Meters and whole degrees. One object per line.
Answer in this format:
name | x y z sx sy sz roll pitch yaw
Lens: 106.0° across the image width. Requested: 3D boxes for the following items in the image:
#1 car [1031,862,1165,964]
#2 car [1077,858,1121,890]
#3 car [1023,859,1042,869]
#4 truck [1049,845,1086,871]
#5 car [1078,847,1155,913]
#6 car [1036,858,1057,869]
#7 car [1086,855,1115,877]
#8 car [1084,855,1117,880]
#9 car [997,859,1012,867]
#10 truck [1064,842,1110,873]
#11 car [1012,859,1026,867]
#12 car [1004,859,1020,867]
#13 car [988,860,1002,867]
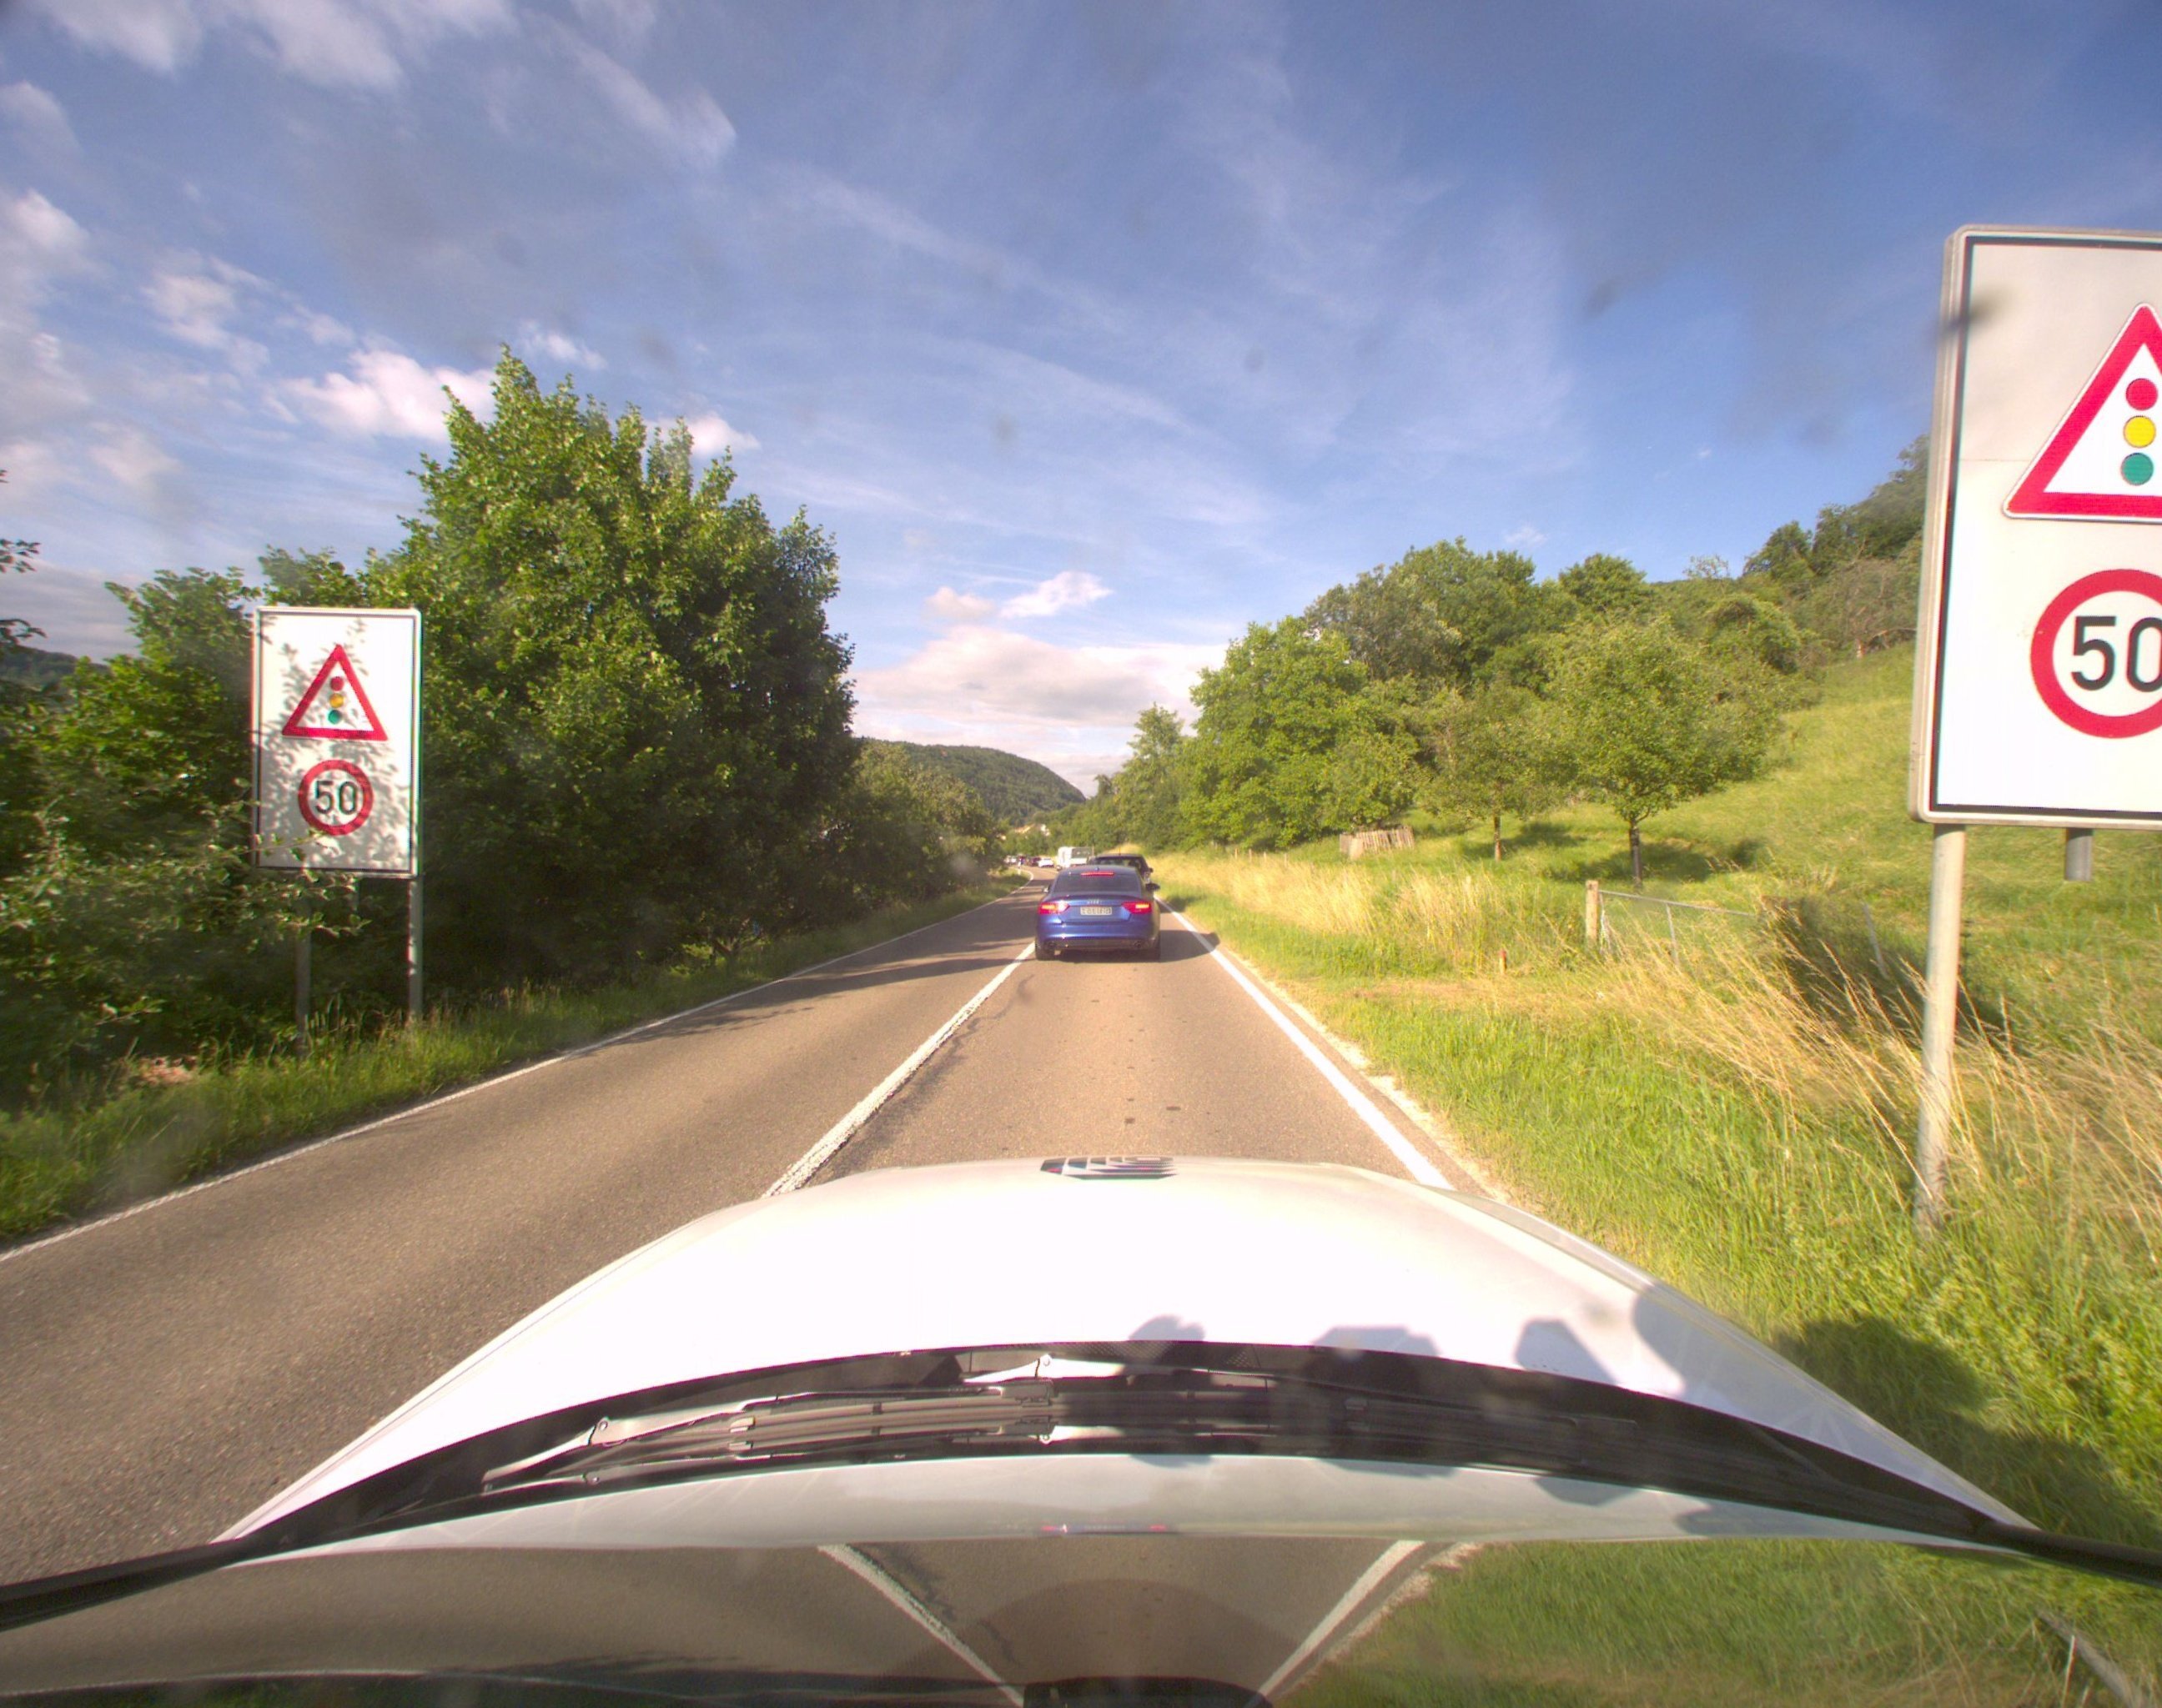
car | 0.358 0.812 12.931 1.786 1.360 4.004 -1 -1 4
car | 0.902 0.928 38.596 1.985 1.387 4.002 -1 -1 3
car | -7.346 1.460 122.440 1.999 1.482 3.976 0 -1 -18
truck | -1.593 0.481 90.604 2.862 2.665 10.614 0 0 -8
car | 1.010 0.706 23.230 1.985 1.702 4.002 -1 -1 3
car | -4.825 1.361 113.908 1.999 1.482 3.976 0 -1 -18
car | 1.427 0.861 57.681 1.985 1.482 4.002 -1 -1 3
car | 1.246 0.856 51.018 1.985 1.482 4.002 -1 -1 3
car | -15.007 1.798 158.965 2.000 1.482 3.973 0 -1 -20
truck | 0.412 0.333 76.213 2.862 2.665 10.363 0 0 -8
car | -10.967 1.581 143.746 1.996 1.482 3.981 0 -1 -14
car | -12.963 1.682 152.382 2.000 1.482 3.973 0 -1 -20
car | -17.782 1.930 168.264 2.000 1.482 3.973 0 -1 -20
